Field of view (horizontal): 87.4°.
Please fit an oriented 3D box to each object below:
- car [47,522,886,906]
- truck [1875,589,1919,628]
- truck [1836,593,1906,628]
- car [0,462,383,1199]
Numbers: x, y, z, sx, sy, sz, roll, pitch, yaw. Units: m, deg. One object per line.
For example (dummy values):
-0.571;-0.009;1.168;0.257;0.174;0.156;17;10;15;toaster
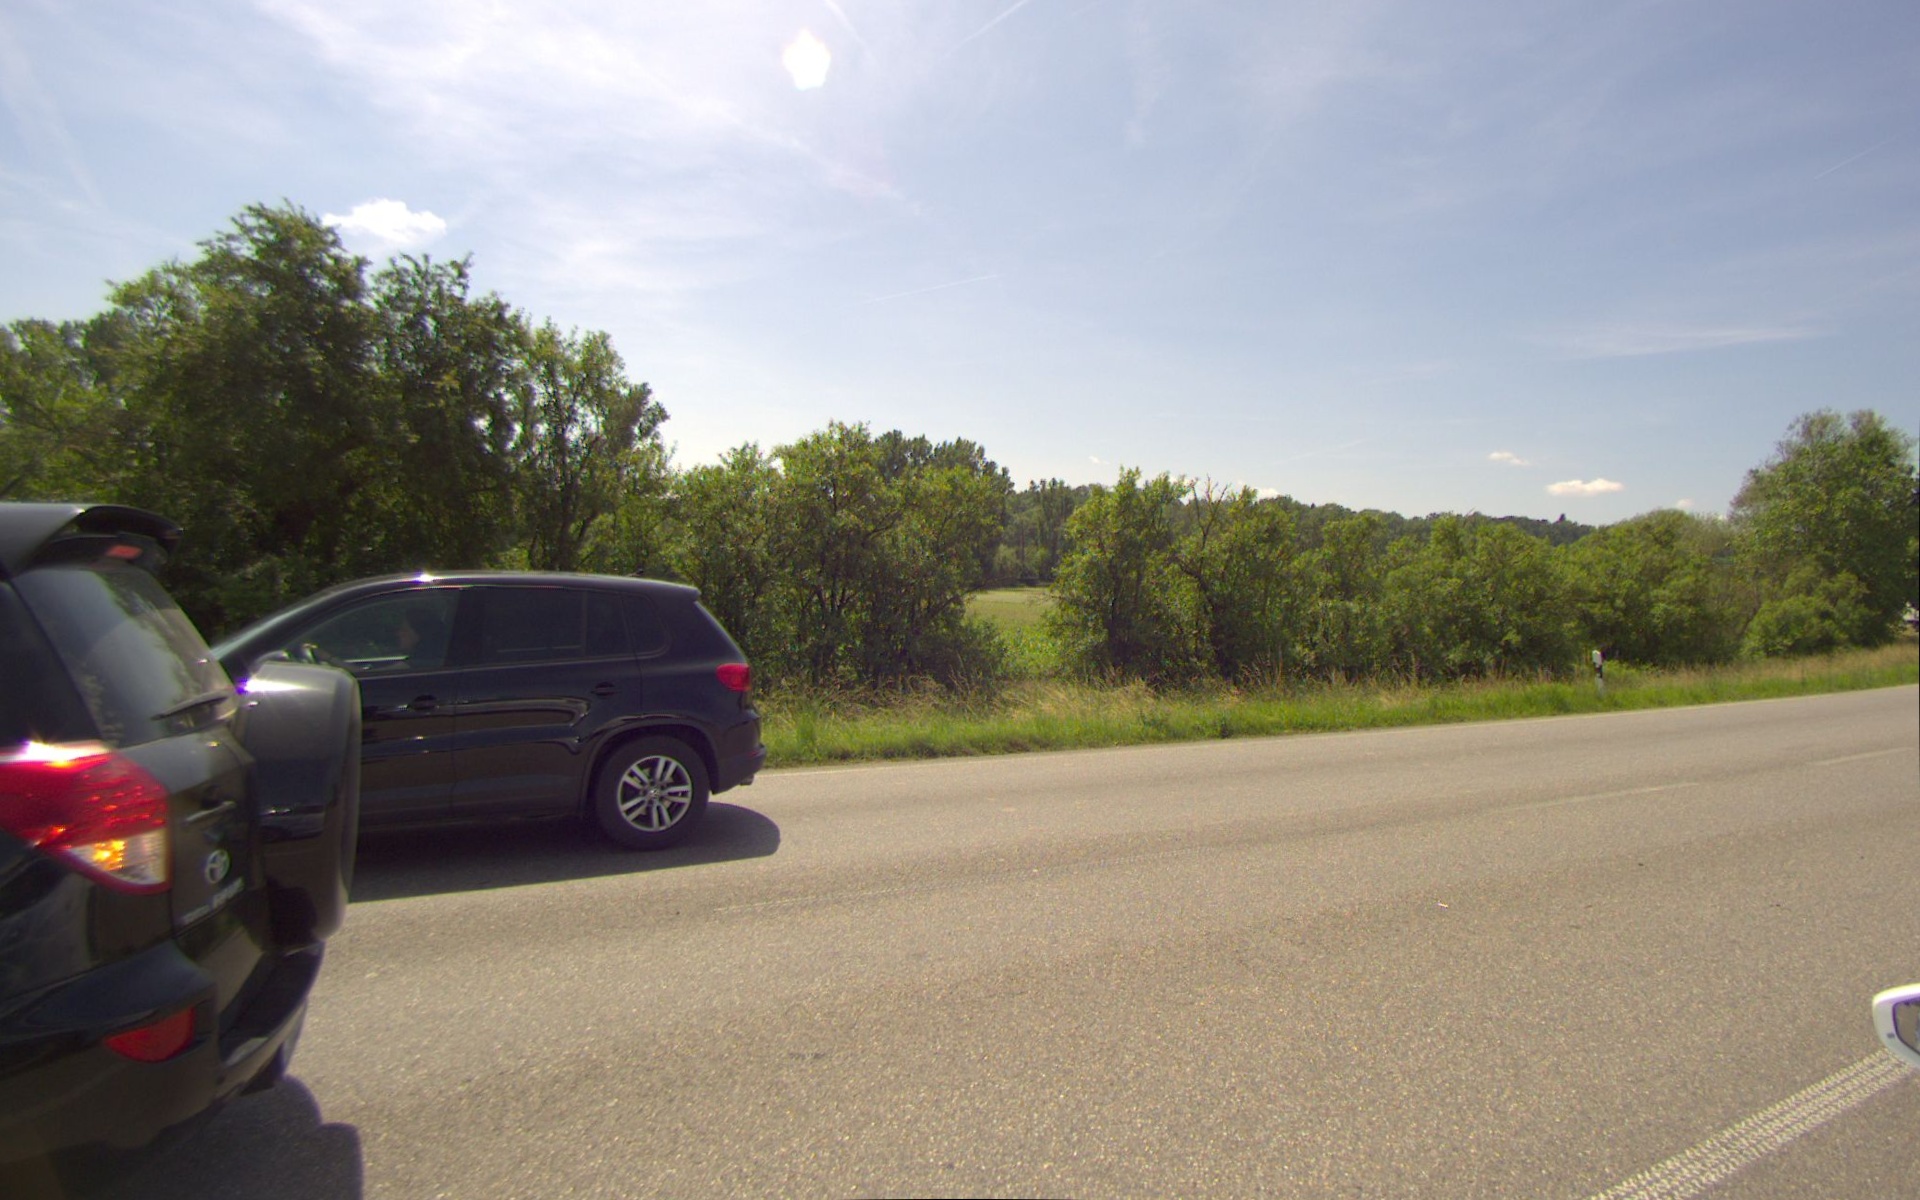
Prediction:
-2.670;0.581;6.240;3.946;1.718;1.988;2;-1;-25;car
114.455;1.135;120.841;3.585;4.184;13.071;4;0;31;truck
122.281;1.541;135.038;3.476;4.296;13.388;4;0;28;truck
-3.348;0.546;1.748;3.951;1.680;1.763;2;0;-29;car
